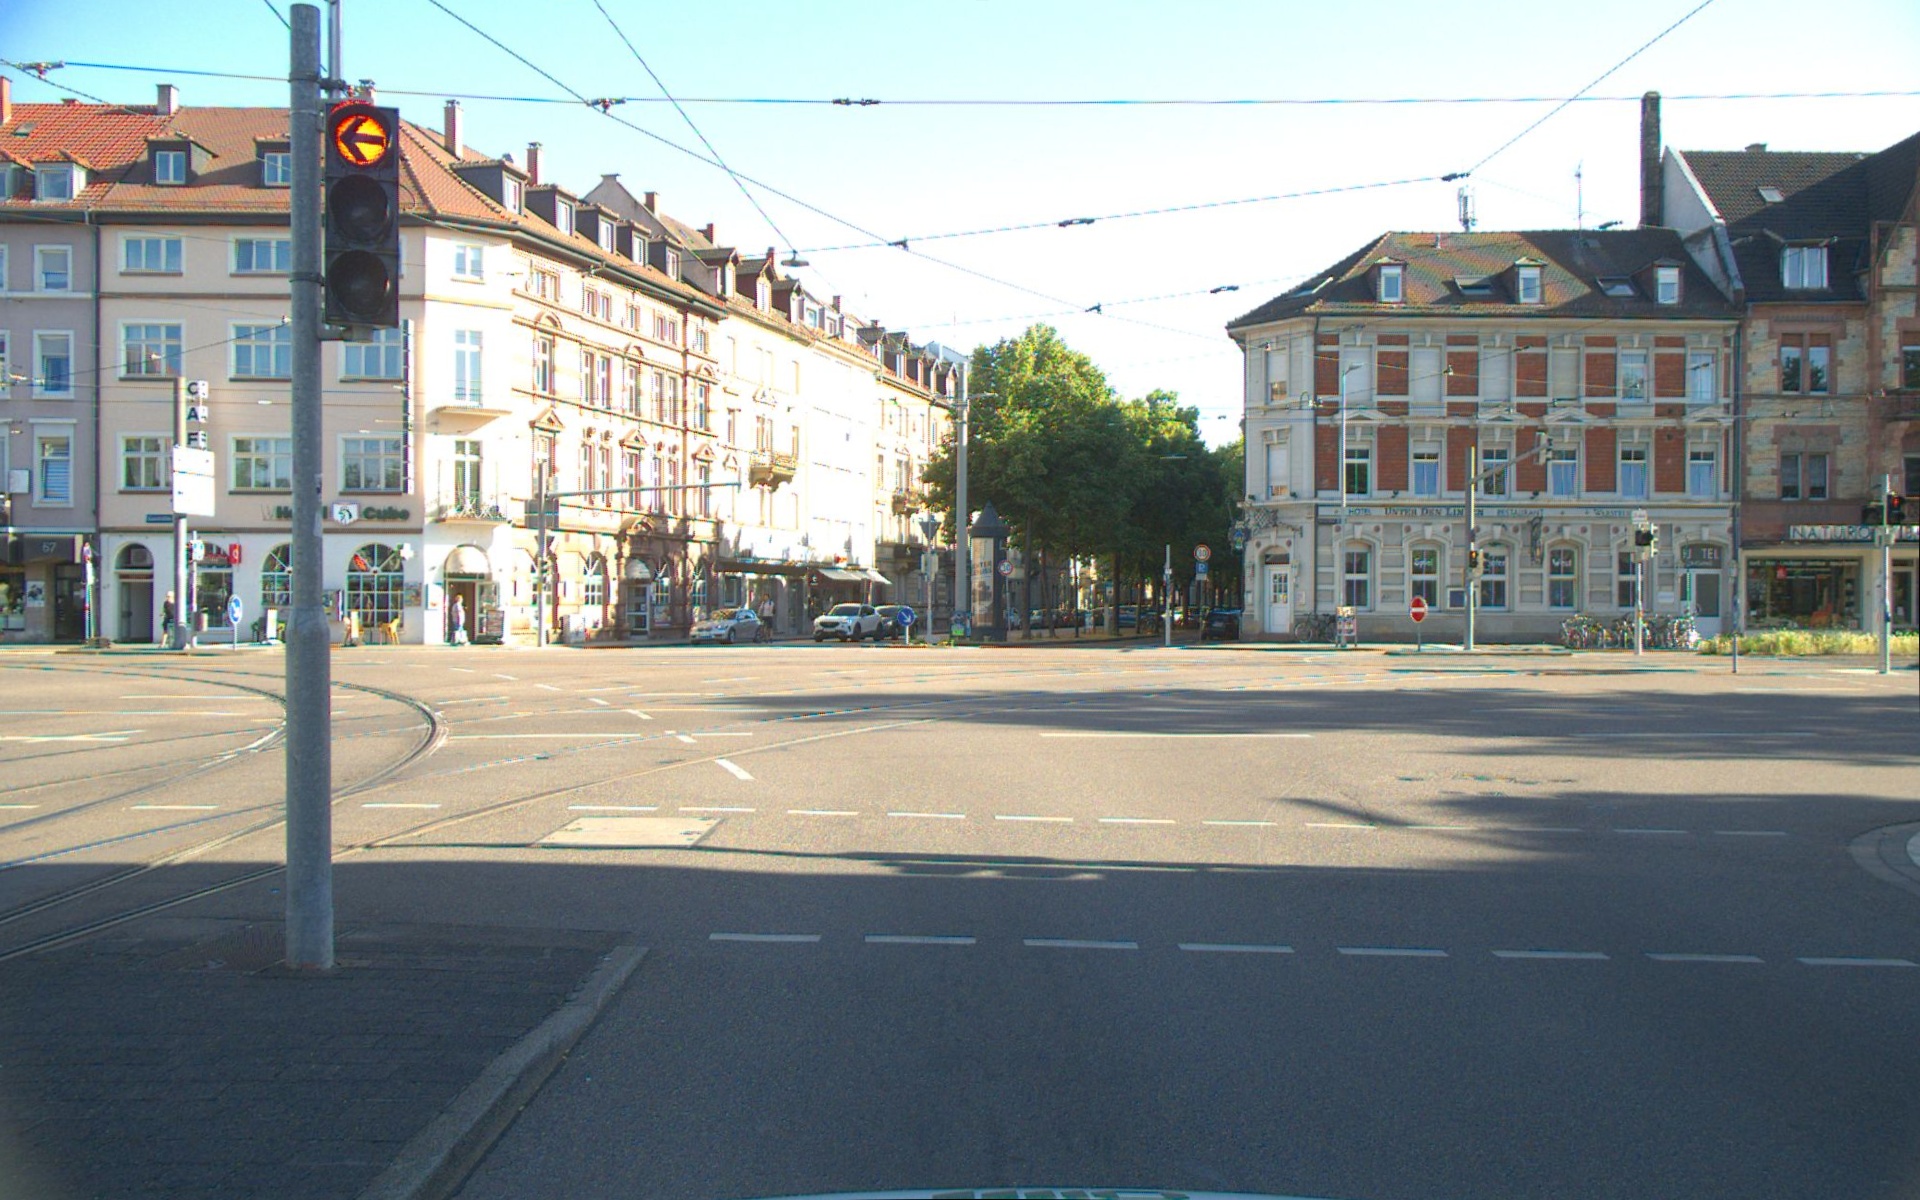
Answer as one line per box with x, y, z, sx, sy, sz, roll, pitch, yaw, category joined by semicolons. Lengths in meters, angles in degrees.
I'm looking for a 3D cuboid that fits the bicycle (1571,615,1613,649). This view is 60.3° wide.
20.462;1.040;53.572;0.593;1.069;1.641;0;0;-6;bicycle

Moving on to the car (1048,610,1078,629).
8.240;1.542;131.711;1.704;1.422;4.127;3;0;13;car

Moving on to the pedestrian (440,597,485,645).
-16.848;0.695;56.007;1.023;1.618;1.063;0;0;40;pedestrian

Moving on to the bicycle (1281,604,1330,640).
11.972;0.767;57.307;1.603;1.243;0.607;0;0;16;bicycle

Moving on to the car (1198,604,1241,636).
12.971;1.007;82.470;1.616;1.551;3.755;0;-1;17;car

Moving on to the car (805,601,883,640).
-4.655;0.792;67.084;2.052;1.525;4.003;0;0;13;car

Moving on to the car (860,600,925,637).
-2.963;0.800;73.477;1.951;1.540;4.004;0;0;11;car

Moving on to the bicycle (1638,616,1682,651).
22.601;1.076;53.406;0.593;1.069;1.641;0;0;-6;bicycle

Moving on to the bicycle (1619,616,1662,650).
21.940;1.064;53.330;0.593;1.069;1.641;0;0;-6;bicycle

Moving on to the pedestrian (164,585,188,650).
-24.670;0.540;52.039;0.498;2.049;0.505;0;0;2;pedestrian

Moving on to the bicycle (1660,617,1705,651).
23.327;1.089;53.428;0.593;1.069;1.641;0;0;-6;bicycle

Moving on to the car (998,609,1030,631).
3.800;1.361;115.844;1.704;1.422;4.127;3;0;9;car

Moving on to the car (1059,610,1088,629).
9.417;1.578;136.507;1.704;1.422;4.127;3;0;13;car

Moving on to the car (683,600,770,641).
-9.454;0.814;67.225;2.052;1.572;4.367;0;0;13;car

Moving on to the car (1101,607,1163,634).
12.001;1.406;115.389;4.024;1.675;1.748;3;0;15;car

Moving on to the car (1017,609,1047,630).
5.331;1.417;122.844;1.704;1.422;4.127;3;0;9;car

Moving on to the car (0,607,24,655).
-32.066;0.999;52.159;3.910;1.489;1.998;-1;1;-6;car

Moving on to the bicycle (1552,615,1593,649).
19.822;1.028;53.517;0.593;1.069;1.641;0;0;-6;bicycle

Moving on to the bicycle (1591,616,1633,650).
21.114;1.051;53.598;0.593;1.069;1.641;0;0;-6;bicycle

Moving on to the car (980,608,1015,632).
2.522;1.314;110.021;1.704;1.422;4.127;3;0;9;car

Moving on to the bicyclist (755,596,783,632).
-7.563;0.545;65.469;0.776;1.399;1.109;0;0;14;bicyclist

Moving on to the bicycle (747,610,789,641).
-7.577;0.996;65.499;0.734;1.155;2.812;0;0;14;bicycle

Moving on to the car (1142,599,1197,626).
16.954;1.018;133.669;4.026;1.952;1.746;3;0;21;car
